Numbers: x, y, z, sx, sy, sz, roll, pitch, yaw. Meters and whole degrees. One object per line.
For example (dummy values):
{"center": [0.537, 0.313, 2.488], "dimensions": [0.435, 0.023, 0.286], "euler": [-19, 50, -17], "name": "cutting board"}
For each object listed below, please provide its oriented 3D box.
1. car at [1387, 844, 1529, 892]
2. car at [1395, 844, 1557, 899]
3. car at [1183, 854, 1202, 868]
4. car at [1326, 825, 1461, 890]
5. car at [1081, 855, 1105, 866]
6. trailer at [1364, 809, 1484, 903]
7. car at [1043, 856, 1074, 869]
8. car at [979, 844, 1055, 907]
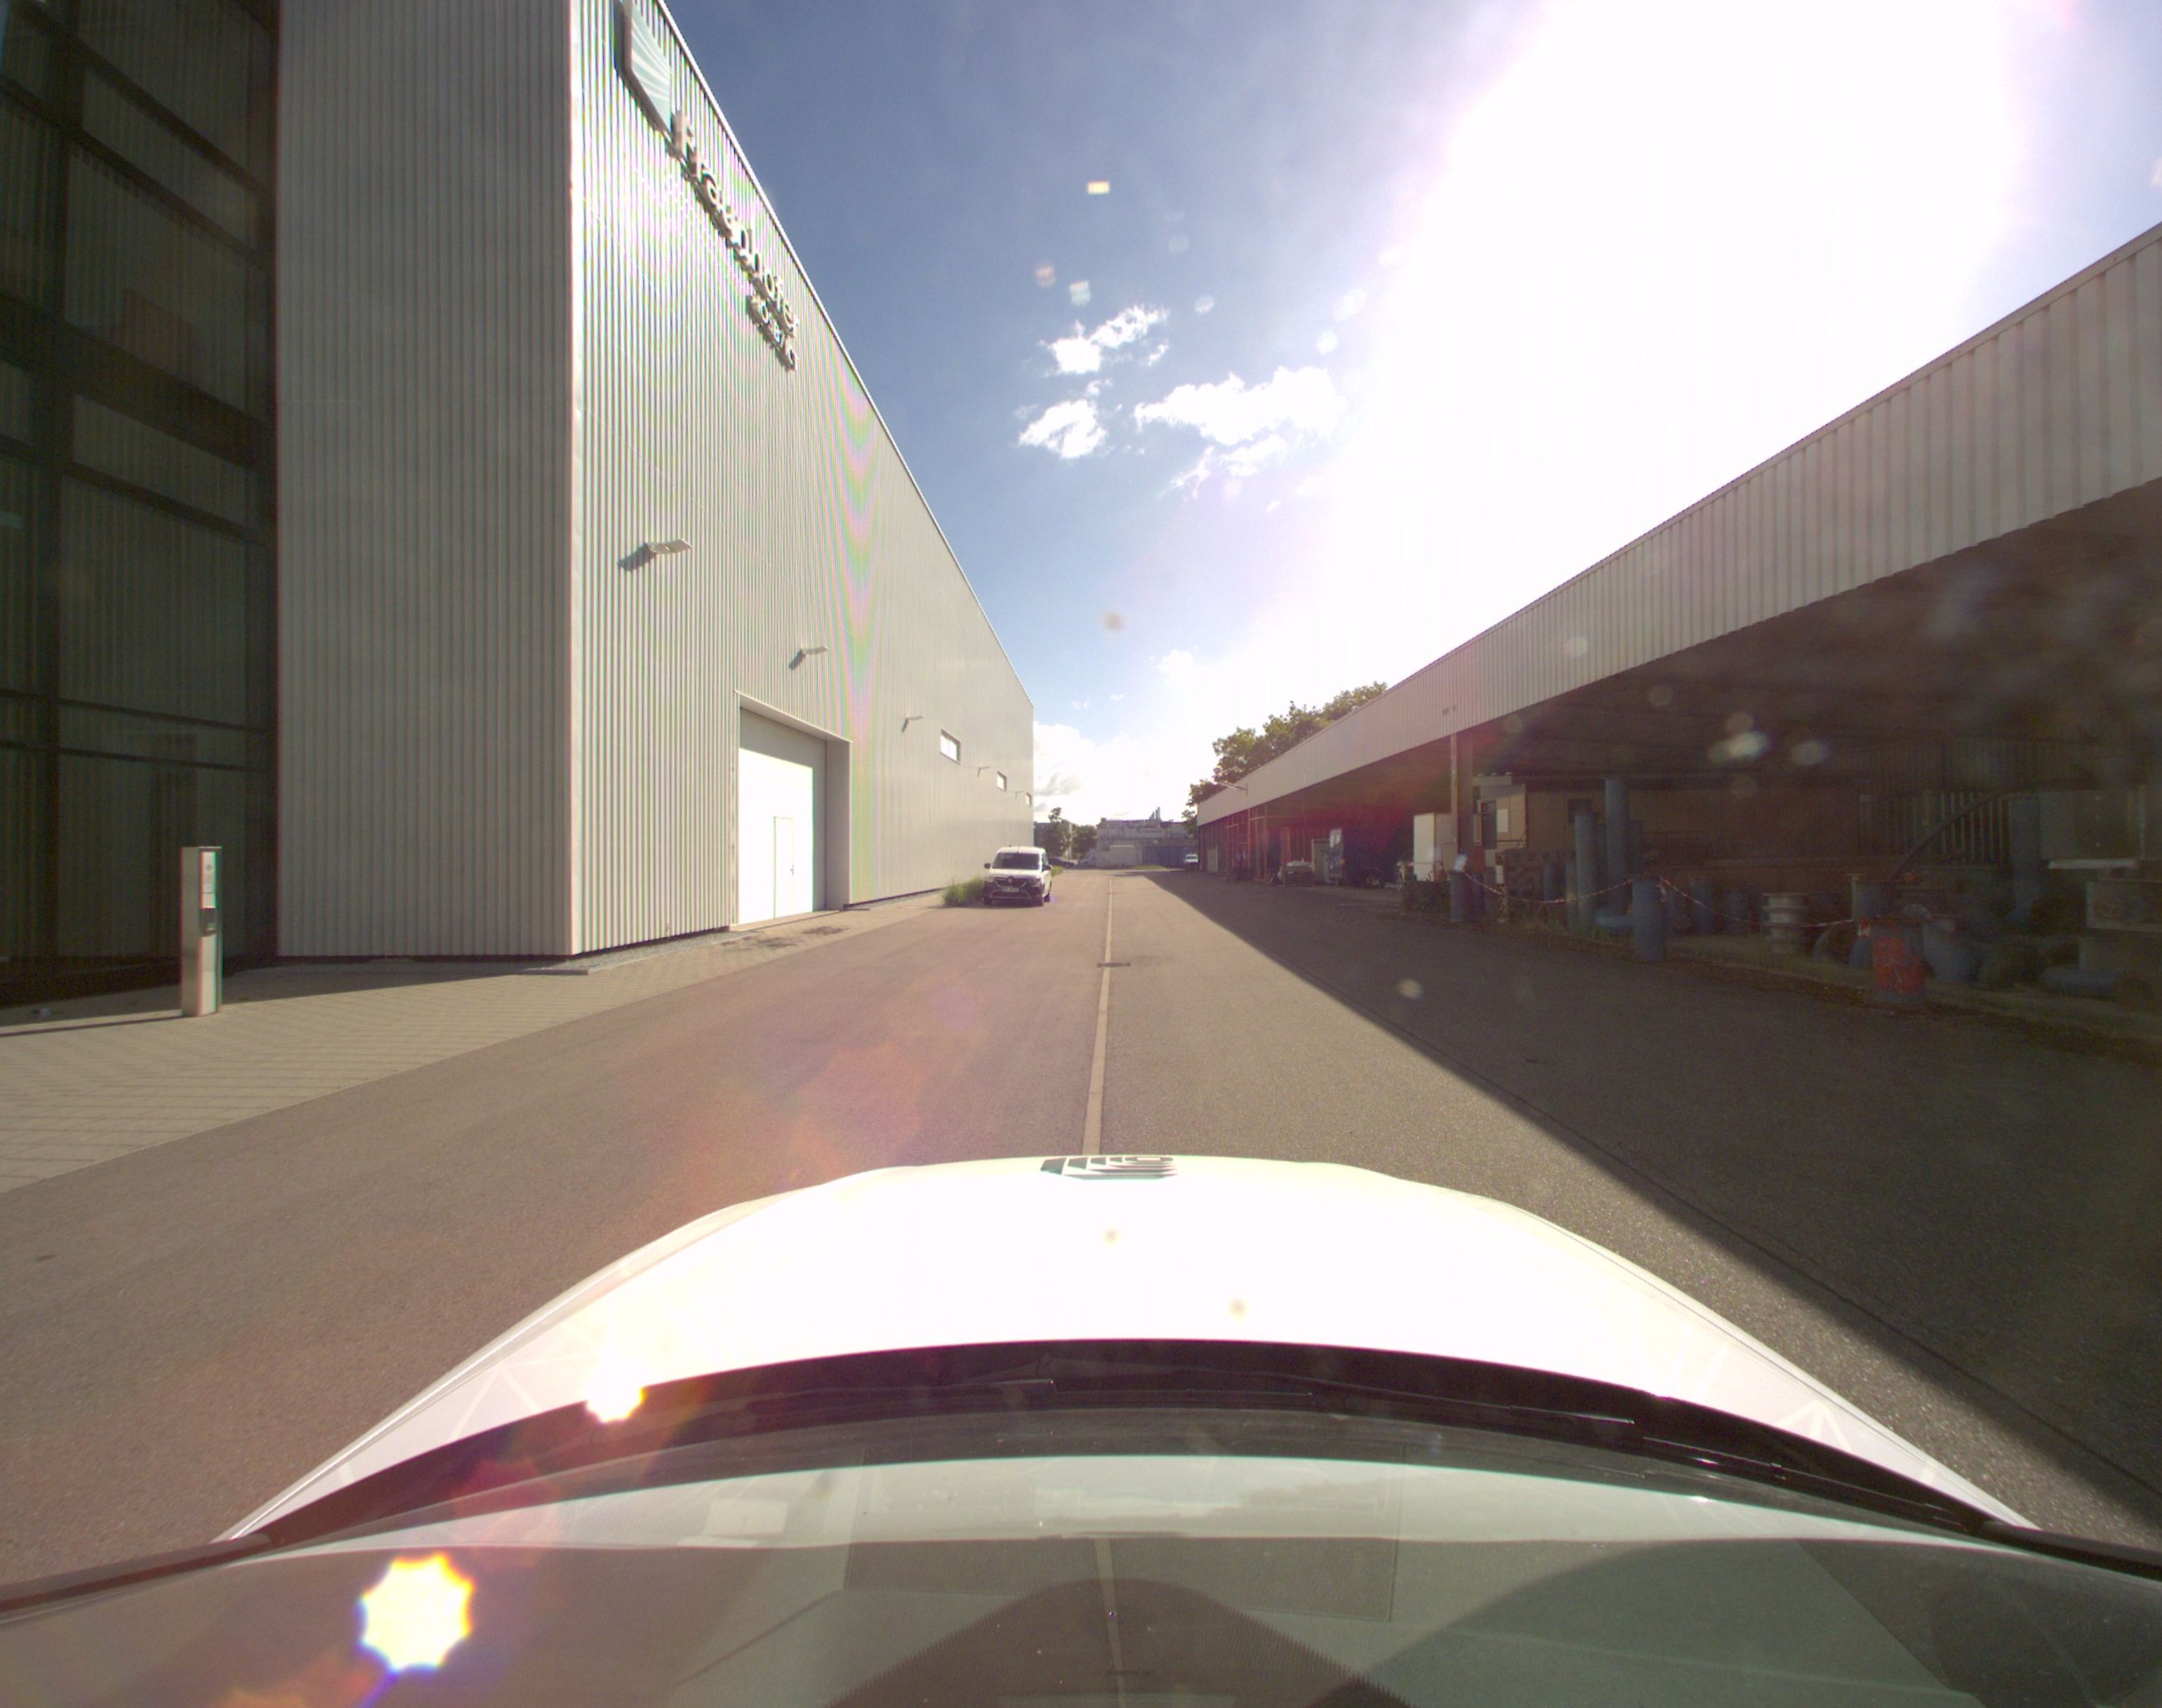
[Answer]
{"center": [12.678, 0.480, 27.563], "dimensions": [4.021, 1.525, 1.685], "euler": [1, -2, 3], "name": "car"}
{"center": [11.623, 0.533, 24.165], "dimensions": [4.021, 1.525, 1.685], "euler": [1, -2, 3], "name": "car"}
{"center": [12.987, 0.842, 95.183], "dimensions": [1.953, 1.564, 4.063], "euler": [1, 0, 4], "name": "car"}
{"center": [11.693, 0.168, 30.693], "dimensions": [4.414, 2.310, 1.916], "euler": [1, -2, 3], "name": "car"}
{"center": [1.958, 1.095, 135.826], "dimensions": [3.973, 1.598, 1.848], "euler": [1, -2, 1], "name": "car"}
{"center": [9.177, 0.061, 21.970], "dimensions": [2.513, 2.399, 1.728], "euler": [-1, -1, 3], "name": "trailer"}
{"center": [-2.954, 1.123, 108.058], "dimensions": [3.973, 1.598, 1.741], "euler": [1, -2, 1], "name": "car"}
{"center": [-1.914, 0.626, 25.741], "dimensions": [1.811, 1.787, 4.408], "euler": [1, 0, 3], "name": "car"}
